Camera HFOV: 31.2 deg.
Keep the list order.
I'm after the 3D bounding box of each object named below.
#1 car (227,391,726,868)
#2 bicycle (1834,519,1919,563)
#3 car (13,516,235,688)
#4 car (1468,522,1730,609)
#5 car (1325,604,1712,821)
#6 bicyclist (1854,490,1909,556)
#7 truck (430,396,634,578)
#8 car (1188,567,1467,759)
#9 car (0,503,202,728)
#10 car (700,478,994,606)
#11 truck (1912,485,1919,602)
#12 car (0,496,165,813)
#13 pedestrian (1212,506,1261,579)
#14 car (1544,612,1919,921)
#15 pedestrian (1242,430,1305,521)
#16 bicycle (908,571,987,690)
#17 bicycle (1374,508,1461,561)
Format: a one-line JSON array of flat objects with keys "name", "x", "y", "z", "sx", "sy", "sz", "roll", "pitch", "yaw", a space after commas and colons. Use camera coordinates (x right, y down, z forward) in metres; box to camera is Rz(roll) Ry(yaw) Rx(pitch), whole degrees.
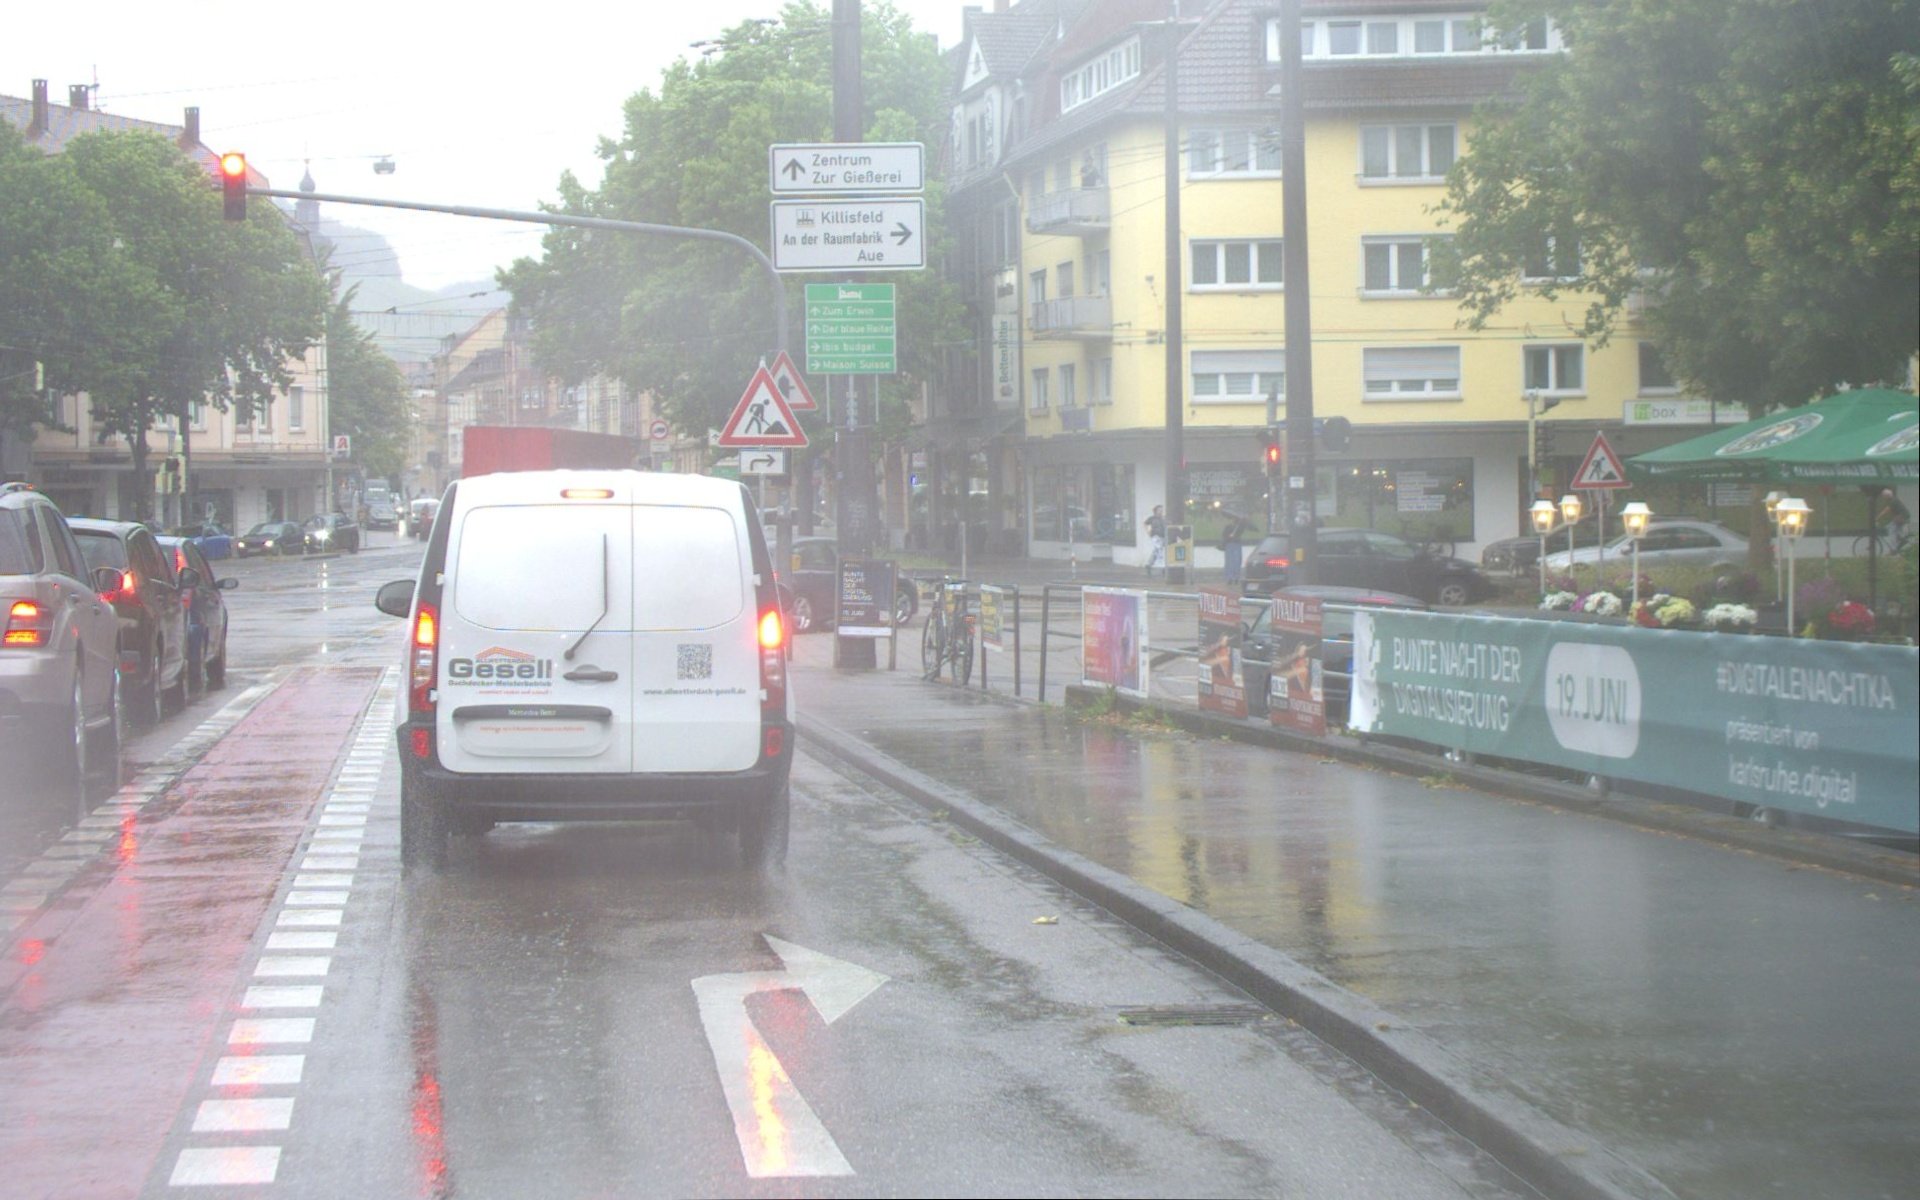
[{"name": "car", "x": -2.393, "y": 0.089, "z": 17.052, "sx": 2.100, "sy": 2.005, "sz": 4.964, "roll": 0, "pitch": 1, "yaw": -8}, {"name": "bicycle", "x": 21.781, "y": -1.401, "z": 81.416, "sx": 2.018, "sy": 1.023, "sz": 0.659, "roll": 1, "pitch": 1, "yaw": 5}, {"name": "car", "x": -8.095, "y": -0.013, "z": 33.559, "sx": 1.726, "sy": 1.573, "sz": 3.822, "roll": 1, "pitch": 1, "yaw": -8}, {"name": "car", "x": 12.653, "y": -0.674, "z": 68.320, "sx": 4.938, "sy": 1.637, "sz": 1.999, "roll": 0, "pitch": -1, "yaw": 4}, {"name": "car", "x": 4.029, "y": 0.775, "z": 25.459, "sx": 1.702, "sy": 1.395, "sz": 3.974, "roll": 1, "pitch": 1, "yaw": -8}, {"name": "bicyclist", "x": 21.834, "y": -1.827, "z": 81.446, "sx": 1.066, "sy": 1.542, "sz": 0.936, "roll": 1, "pitch": 1, "yaw": 4}, {"name": "truck", "x": -12.759, "y": -3.315, "z": 104.280, "sx": 3.470, "sy": 5.070, "sz": 15.306, "roll": 1, "pitch": 1, "yaw": 3}, {"name": "car", "x": 3.239, "y": 0.520, "z": 30.963, "sx": 1.705, "sy": 1.437, "sz": 3.526, "roll": 3, "pitch": 2, "yaw": -6}, {"name": "car", "x": -7.197, "y": 0.076, "z": 27.620, "sx": 1.834, "sy": 1.662, "sz": 4.174, "roll": 1, "pitch": 1, "yaw": -8}, {"name": "car", "x": -1.716, "y": -0.873, "z": 52.264, "sx": 3.986, "sy": 1.859, "sz": 2.000, "roll": 0, "pitch": 1, "yaw": -27}, {"name": "truck", "x": 19.397, "y": -0.925, "z": 58.534, "sx": 5.745, "sy": 2.007, "sz": 2.112, "roll": 1, "pitch": 1, "yaw": -3}, {"name": "car", "x": -6.121, "y": 0.258, "z": 21.264, "sx": 2.024, "sy": 1.764, "sz": 4.464, "roll": 1, "pitch": 1, "yaw": -9}, {"name": "pedestrian", "x": 5.759, "y": -1.197, "z": 71.651, "sx": 0.622, "sy": 1.528, "sz": 0.814, "roll": 1, "pitch": 1, "yaw": 44}, {"name": "car", "x": 4.981, "y": 0.898, "z": 20.283, "sx": 1.731, "sy": 1.534, "sz": 4.076, "roll": 1, "pitch": 1, "yaw": -10}, {"name": "pedestrian", "x": 5.823, "y": -2.308, "z": 63.884, "sx": 0.905, "sy": 1.663, "sz": 1.019, "roll": 1, "pitch": 1, "yaw": 21}, {"name": "bicycle", "x": -0.135, "y": 0.288, "z": 34.555, "sx": 0.514, "sy": 1.103, "sz": 2.017, "roll": 3, "pitch": 1, "yaw": -6}, {"name": "bicycle", "x": 11.270, "y": -1.619, "z": 84.774, "sx": 2.102, "sy": 1.257, "sz": 0.532, "roll": 1, "pitch": 2, "yaw": 7}]
